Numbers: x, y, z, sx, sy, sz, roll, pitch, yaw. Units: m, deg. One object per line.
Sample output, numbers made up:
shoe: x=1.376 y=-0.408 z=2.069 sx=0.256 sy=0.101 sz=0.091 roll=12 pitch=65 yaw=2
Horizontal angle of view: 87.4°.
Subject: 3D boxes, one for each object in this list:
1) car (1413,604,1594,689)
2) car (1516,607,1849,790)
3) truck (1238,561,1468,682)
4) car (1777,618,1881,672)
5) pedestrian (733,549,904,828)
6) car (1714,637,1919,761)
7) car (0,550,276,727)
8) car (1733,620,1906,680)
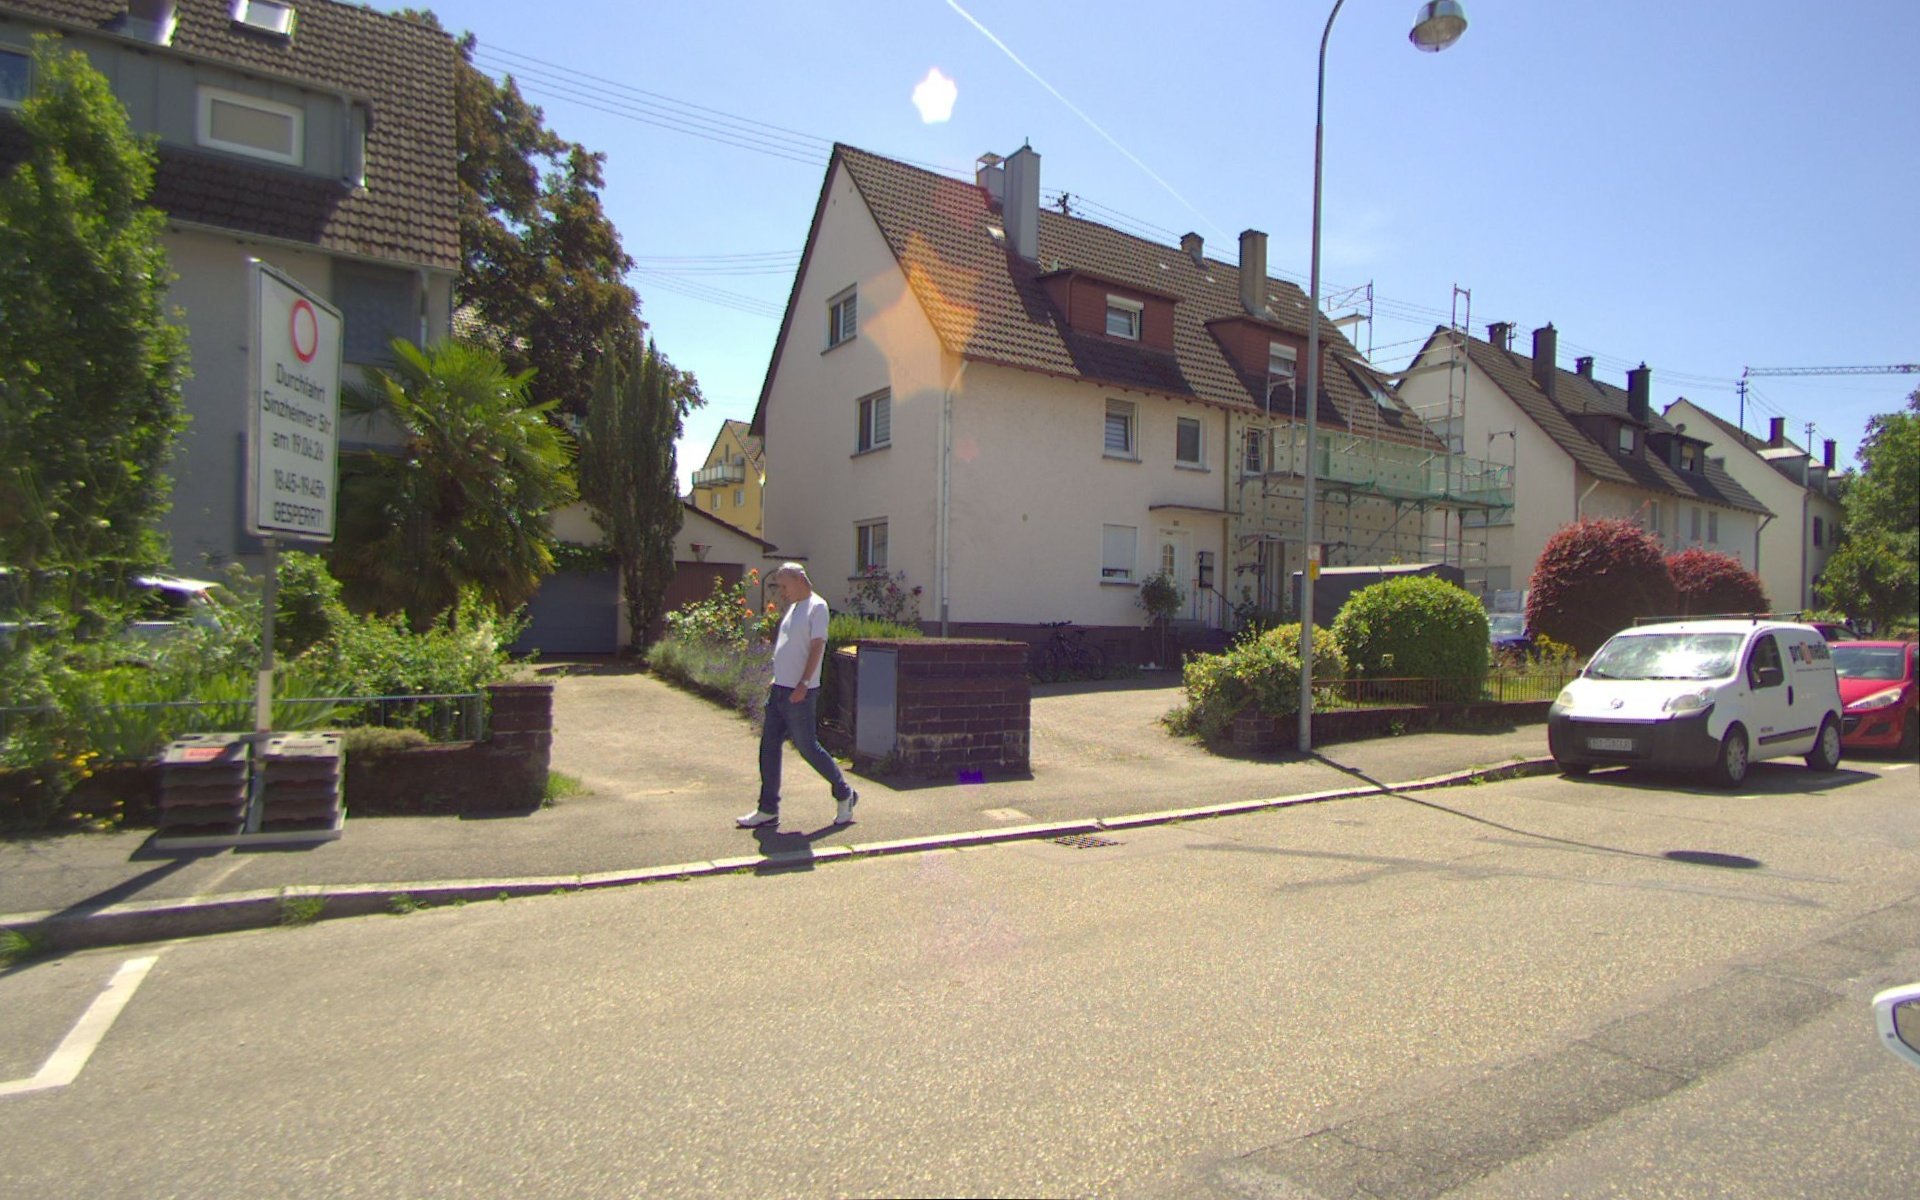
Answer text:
car: x=11.540 y=0.951 z=21.261 sx=3.959 sy=1.535 sz=1.674 roll=1 pitch=3 yaw=-35
car: x=8.257 y=1.033 z=11.418 sx=3.843 sy=1.758 sz=1.714 roll=2 pitch=-3 yaw=-32
truck: x=7.029 y=0.394 z=18.302 sx=1.529 sy=1.963 sz=3.747 roll=1 pitch=-2 yaw=-32
car: x=33.066 y=1.716 z=38.186 sx=3.952 sy=1.895 sz=1.707 roll=2 pitch=0 yaw=-29
pedestrian: x=-1.061 y=0.622 z=7.449 sx=1.005 sy=1.915 sz=0.687 roll=2 pitch=3 yaw=-26
car: x=12.426 y=1.284 z=13.996 sx=4.014 sy=1.496 sz=1.751 roll=2 pitch=-3 yaw=-33
car: x=-9.093 y=0.291 z=9.311 sx=4.311 sy=1.528 sz=1.761 roll=4 pitch=-1 yaw=-30
car: x=25.134 y=1.432 z=29.424 sx=4.038 sy=1.532 sz=1.644 roll=-1 pitch=3 yaw=-10
